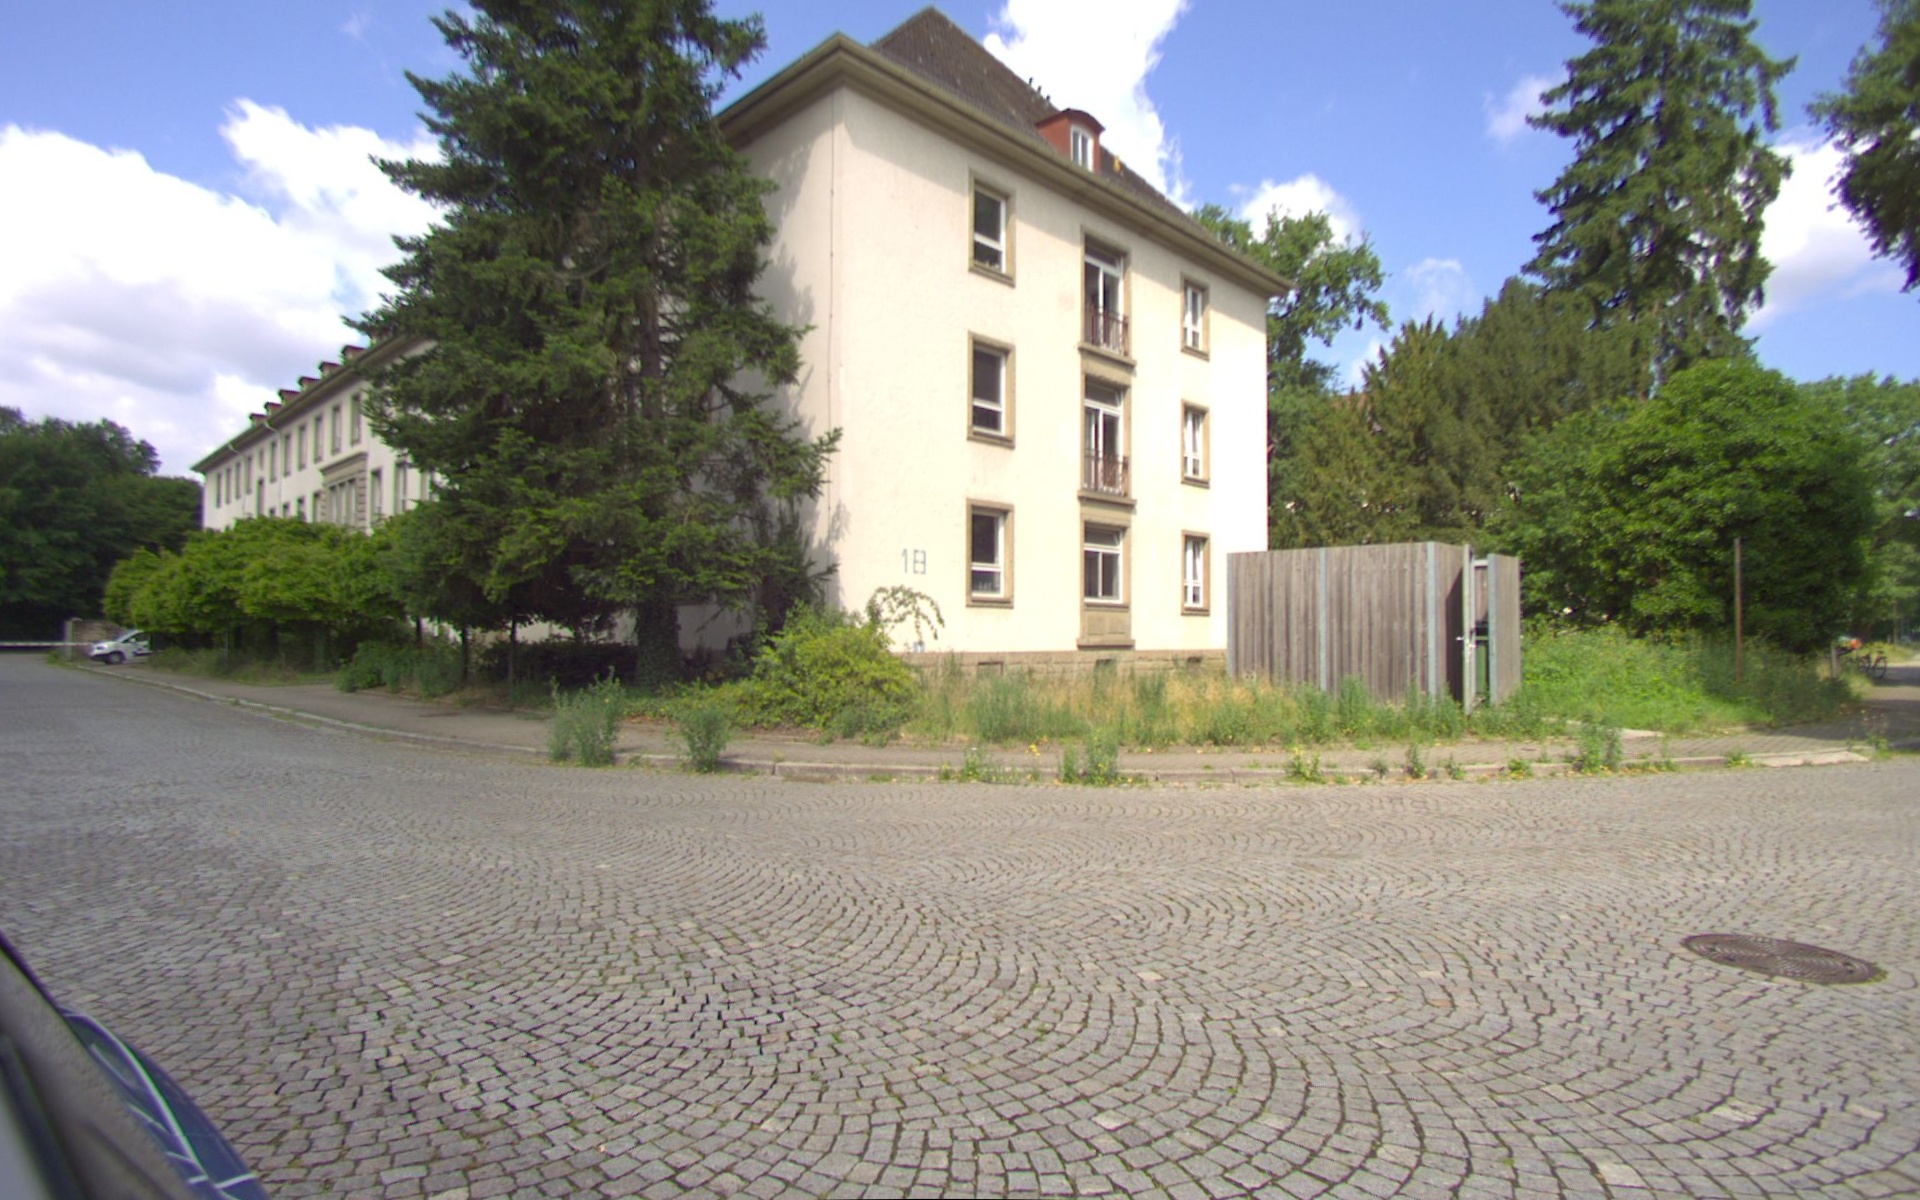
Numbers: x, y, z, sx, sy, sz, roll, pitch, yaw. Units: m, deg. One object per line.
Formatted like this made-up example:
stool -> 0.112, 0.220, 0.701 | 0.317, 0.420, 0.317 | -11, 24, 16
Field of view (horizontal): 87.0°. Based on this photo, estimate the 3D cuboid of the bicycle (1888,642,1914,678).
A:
bicycle -> 31.095, 1.963, 33.450 | 0.559, 1.107, 2.184 | -2, -2, 41

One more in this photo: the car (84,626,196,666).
car -> -42.217, 2.328, 52.180 | 1.820, 1.819, 4.256 | -1, 0, 41
